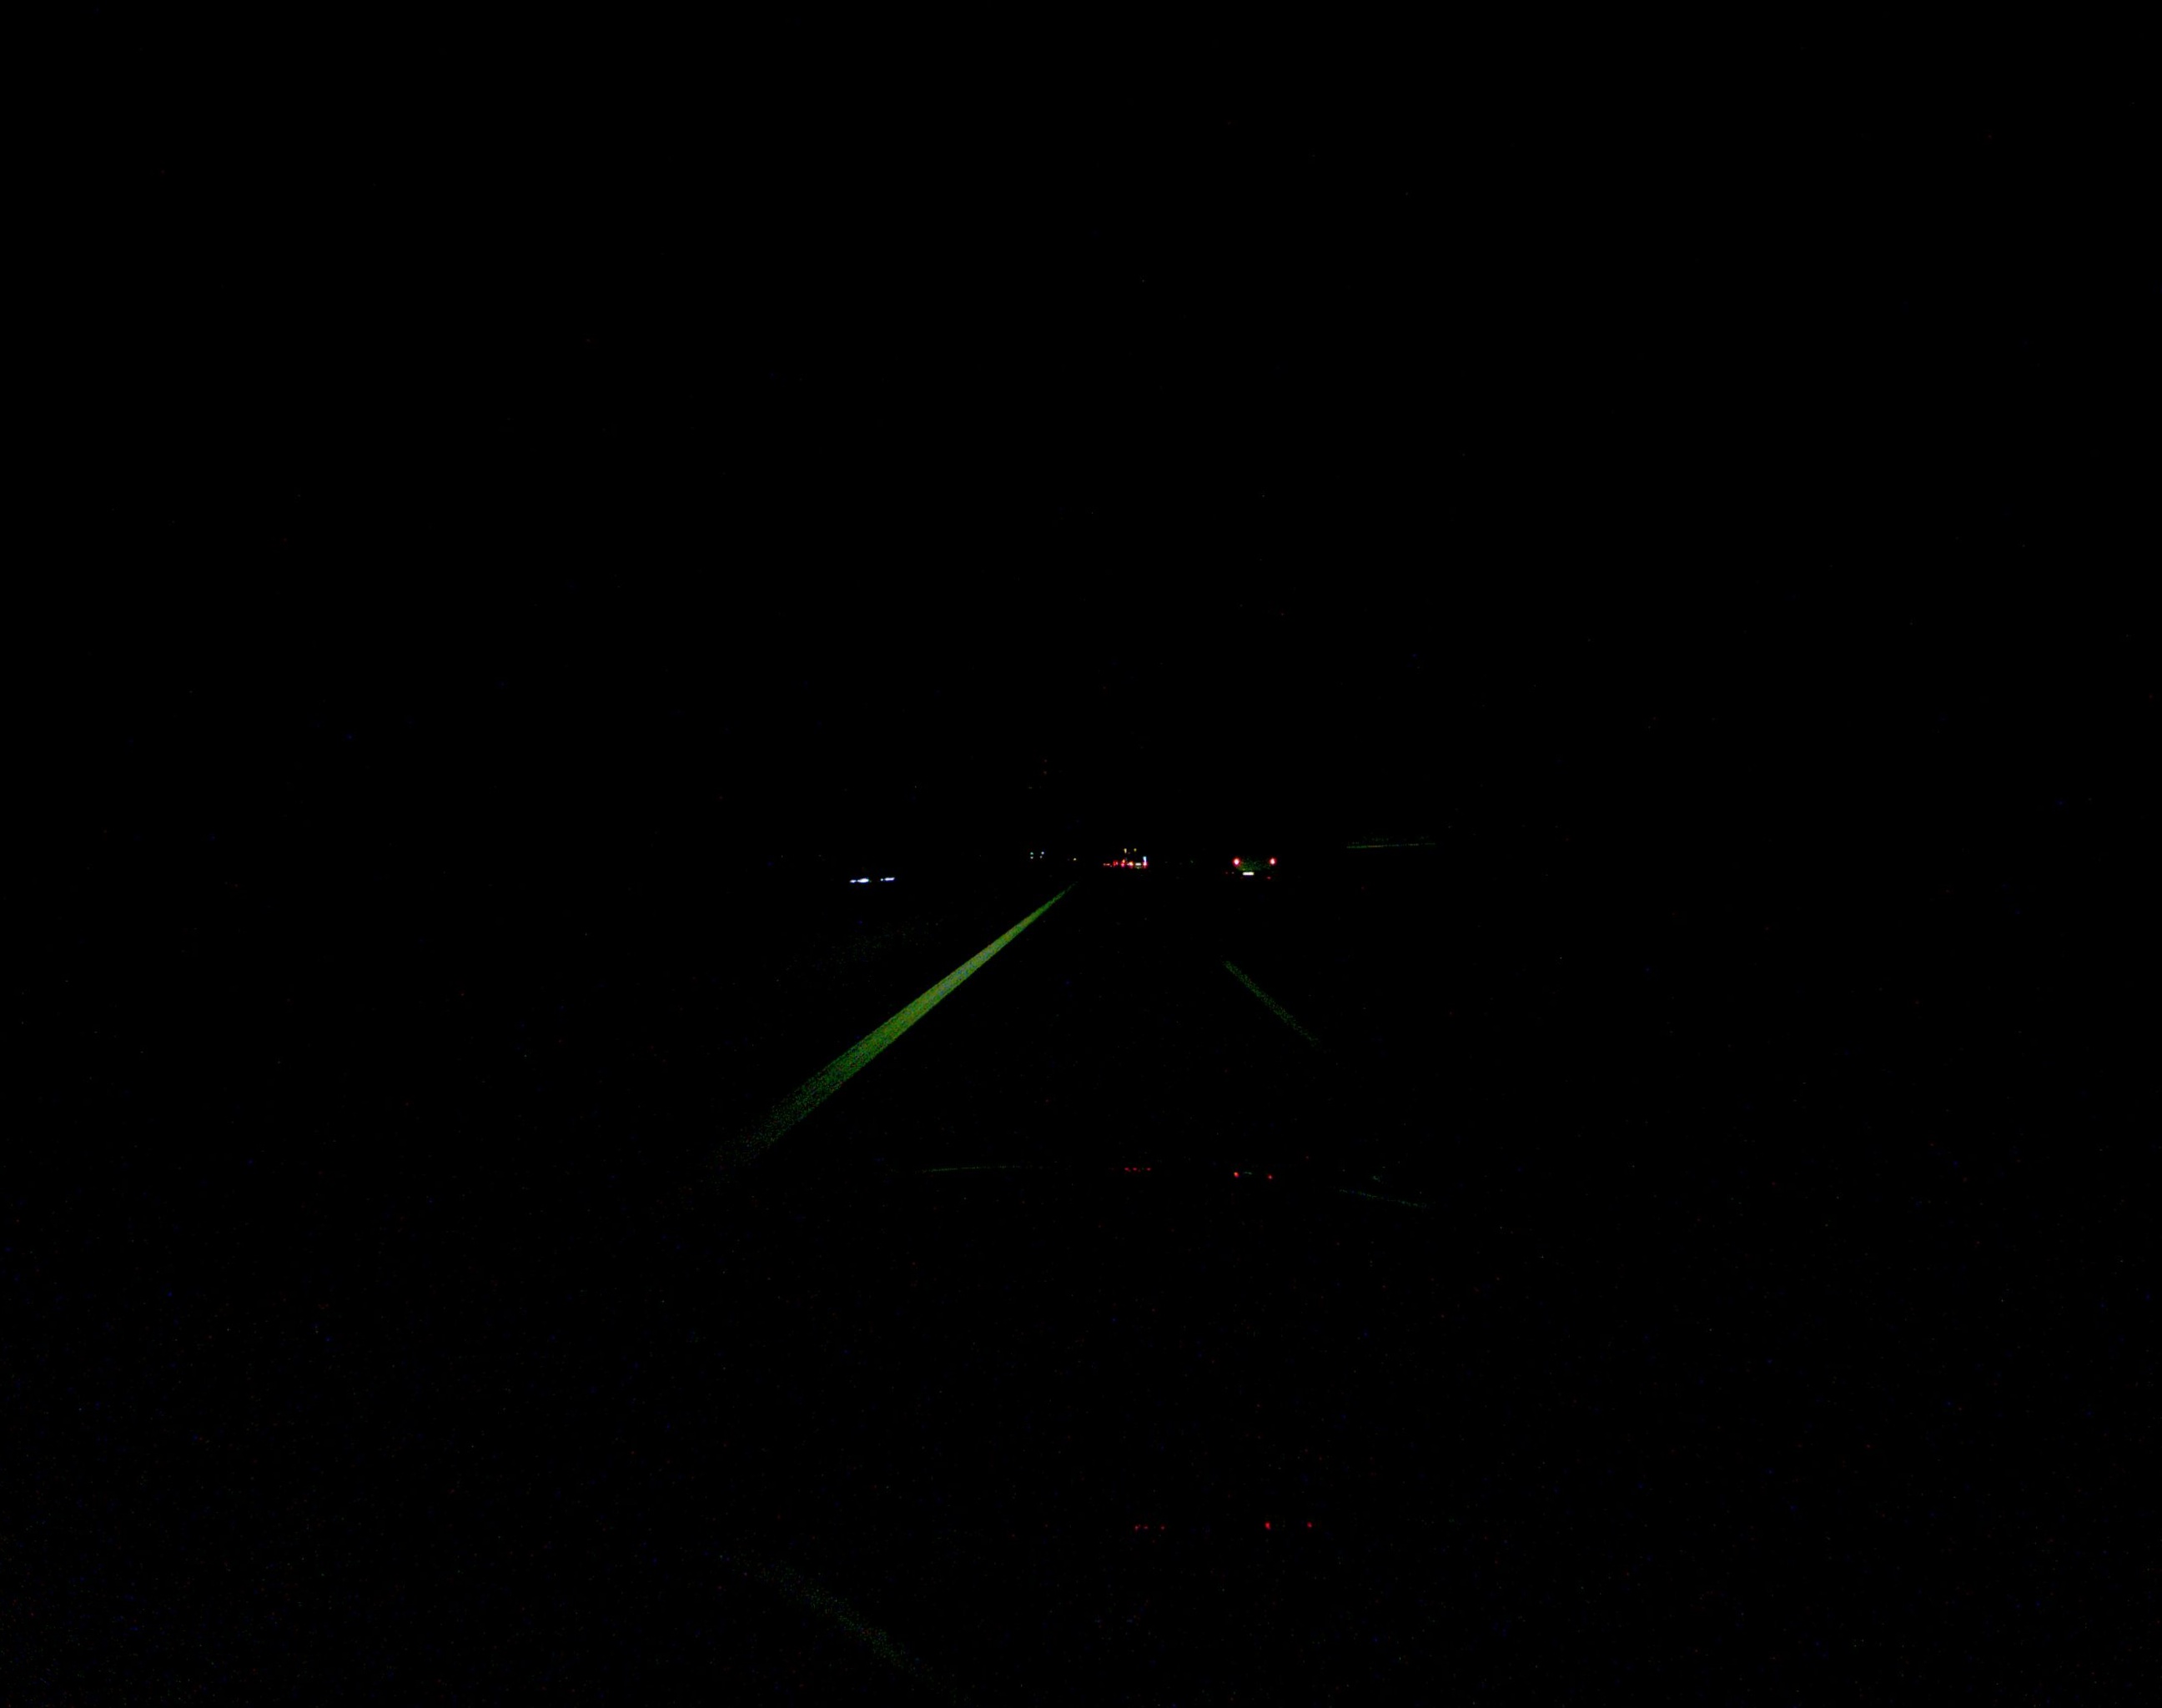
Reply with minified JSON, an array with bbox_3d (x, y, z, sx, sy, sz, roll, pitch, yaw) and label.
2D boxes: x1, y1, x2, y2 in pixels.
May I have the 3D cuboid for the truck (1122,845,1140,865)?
[{"bbox_3d":[8.618,0.121,142.052,3.032,3.324,10.149,0,1,3],"label":"truck"}]

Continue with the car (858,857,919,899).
[{"bbox_3d":[-10.346,1.229,44.222,1.901,1.922,5.458,-3,1,1],"label":"car"}]

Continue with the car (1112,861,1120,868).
[{"bbox_3d":[8.568,2.598,199.709,1.813,1.466,4.251,0,1,3],"label":"car"}]

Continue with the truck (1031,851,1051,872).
[{"bbox_3d":[-9.271,1.697,190.171,3.234,4.488,17.448,0,1,2],"label":"truck"}]

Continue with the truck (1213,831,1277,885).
[{"bbox_3d":[8.640,0.288,43.699,2.069,2.691,7.308,0,-2,1],"label":"truck"}]

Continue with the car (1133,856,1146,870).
[{"bbox_3d":[6.326,0.953,88.456,1.341,1.387,3.503,0,1,2],"label":"car"}]
